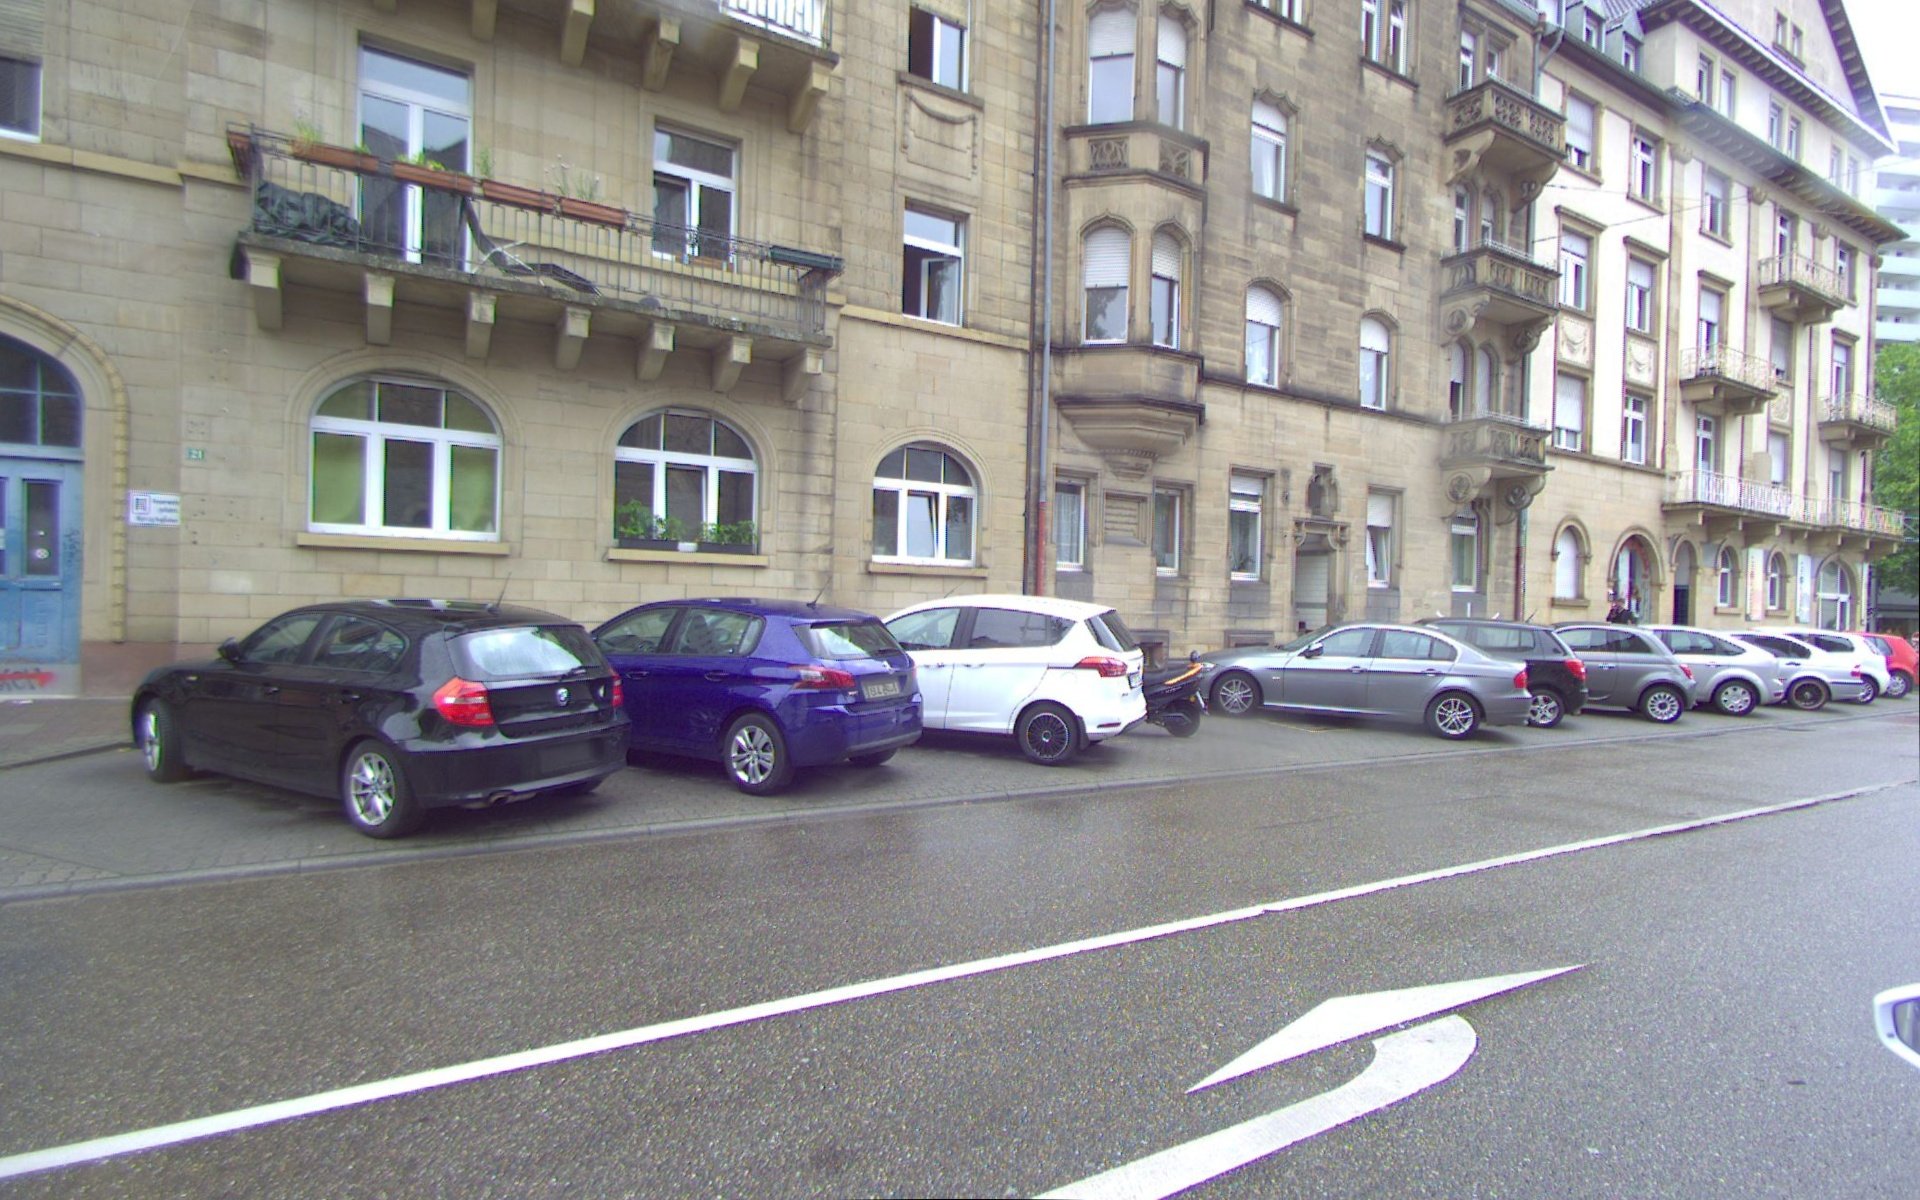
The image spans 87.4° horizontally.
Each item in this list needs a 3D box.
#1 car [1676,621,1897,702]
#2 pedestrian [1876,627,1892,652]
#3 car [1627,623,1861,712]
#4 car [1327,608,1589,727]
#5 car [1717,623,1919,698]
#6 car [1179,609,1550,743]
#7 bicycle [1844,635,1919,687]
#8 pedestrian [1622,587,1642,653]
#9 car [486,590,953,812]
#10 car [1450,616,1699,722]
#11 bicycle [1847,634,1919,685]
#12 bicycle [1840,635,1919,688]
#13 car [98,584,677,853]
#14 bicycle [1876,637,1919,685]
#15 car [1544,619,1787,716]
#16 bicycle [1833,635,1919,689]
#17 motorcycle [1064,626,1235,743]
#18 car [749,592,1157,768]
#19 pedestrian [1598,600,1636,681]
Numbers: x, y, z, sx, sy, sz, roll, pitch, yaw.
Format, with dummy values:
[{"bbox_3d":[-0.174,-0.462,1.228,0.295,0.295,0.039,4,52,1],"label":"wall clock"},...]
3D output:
[{"bbox_3d":[17.915,1.288,21.956,3.337,1.578,1.705,1,0,21],"label":"car"},{"bbox_3d":[58.605,2.505,63.702,0.631,1.550,0.443,1,0,-4],"label":"pedestrian"},{"bbox_3d":[15.637,1.292,20.241,3.337,1.578,1.705,1,0,21],"label":"car"},{"bbox_3d":[7.636,0.979,15.731,3.484,1.619,1.605,1,0,21],"label":"car"},{"bbox_3d":[20.183,1.380,23.706,3.337,1.578,1.705,1,0,21],"label":"car"},{"bbox_3d":[5.377,0.958,13.857,4.457,1.565,1.689,1,0,17],"label":"car"},{"bbox_3d":[24.436,1.589,26.345,0.492,1.283,1.801,1,-1,-31],"label":"bicycle"},{"bbox_3d":[19.059,0.570,28.486,0.343,1.846,0.364,2,-1,-32],"label":"pedestrian"},{"bbox_3d":[-2.229,0.744,9.077,3.972,1.594,1.795,1,-1,31],"label":"car"},{"bbox_3d":[10.330,1.103,17.161,3.337,1.578,1.652,1,0,21],"label":"car"},{"bbox_3d":[25.169,1.598,27.115,0.601,1.283,1.754,1,-1,-31],"label":"bicycle"},{"bbox_3d":[23.919,1.565,25.885,0.492,1.283,1.801,1,-1,-31],"label":"bicycle"},{"bbox_3d":[-4.269,0.685,7.462,3.968,1.532,1.797,1,-1,26],"label":"car"},{"bbox_3d":[26.095,1.664,27.237,0.601,1.283,1.754,1,-1,-31],"label":"bicycle"},{"bbox_3d":[12.929,1.193,18.641,3.337,1.578,1.705,1,0,21],"label":"car"},{"bbox_3d":[23.464,1.560,25.592,0.516,1.283,1.754,1,-1,-31],"label":"bicycle"},{"bbox_3d":[2.228,0.961,11.851,1.837,1.177,0.633,4,1,23],"label":"motorcycle"},{"bbox_3d":[-0.038,0.746,10.724,3.964,1.576,1.799,1,-1,20],"label":"car"},{"bbox_3d":[16.888,1.030,25.832,0.647,2.040,0.565,1,0,-30],"label":"pedestrian"}]
